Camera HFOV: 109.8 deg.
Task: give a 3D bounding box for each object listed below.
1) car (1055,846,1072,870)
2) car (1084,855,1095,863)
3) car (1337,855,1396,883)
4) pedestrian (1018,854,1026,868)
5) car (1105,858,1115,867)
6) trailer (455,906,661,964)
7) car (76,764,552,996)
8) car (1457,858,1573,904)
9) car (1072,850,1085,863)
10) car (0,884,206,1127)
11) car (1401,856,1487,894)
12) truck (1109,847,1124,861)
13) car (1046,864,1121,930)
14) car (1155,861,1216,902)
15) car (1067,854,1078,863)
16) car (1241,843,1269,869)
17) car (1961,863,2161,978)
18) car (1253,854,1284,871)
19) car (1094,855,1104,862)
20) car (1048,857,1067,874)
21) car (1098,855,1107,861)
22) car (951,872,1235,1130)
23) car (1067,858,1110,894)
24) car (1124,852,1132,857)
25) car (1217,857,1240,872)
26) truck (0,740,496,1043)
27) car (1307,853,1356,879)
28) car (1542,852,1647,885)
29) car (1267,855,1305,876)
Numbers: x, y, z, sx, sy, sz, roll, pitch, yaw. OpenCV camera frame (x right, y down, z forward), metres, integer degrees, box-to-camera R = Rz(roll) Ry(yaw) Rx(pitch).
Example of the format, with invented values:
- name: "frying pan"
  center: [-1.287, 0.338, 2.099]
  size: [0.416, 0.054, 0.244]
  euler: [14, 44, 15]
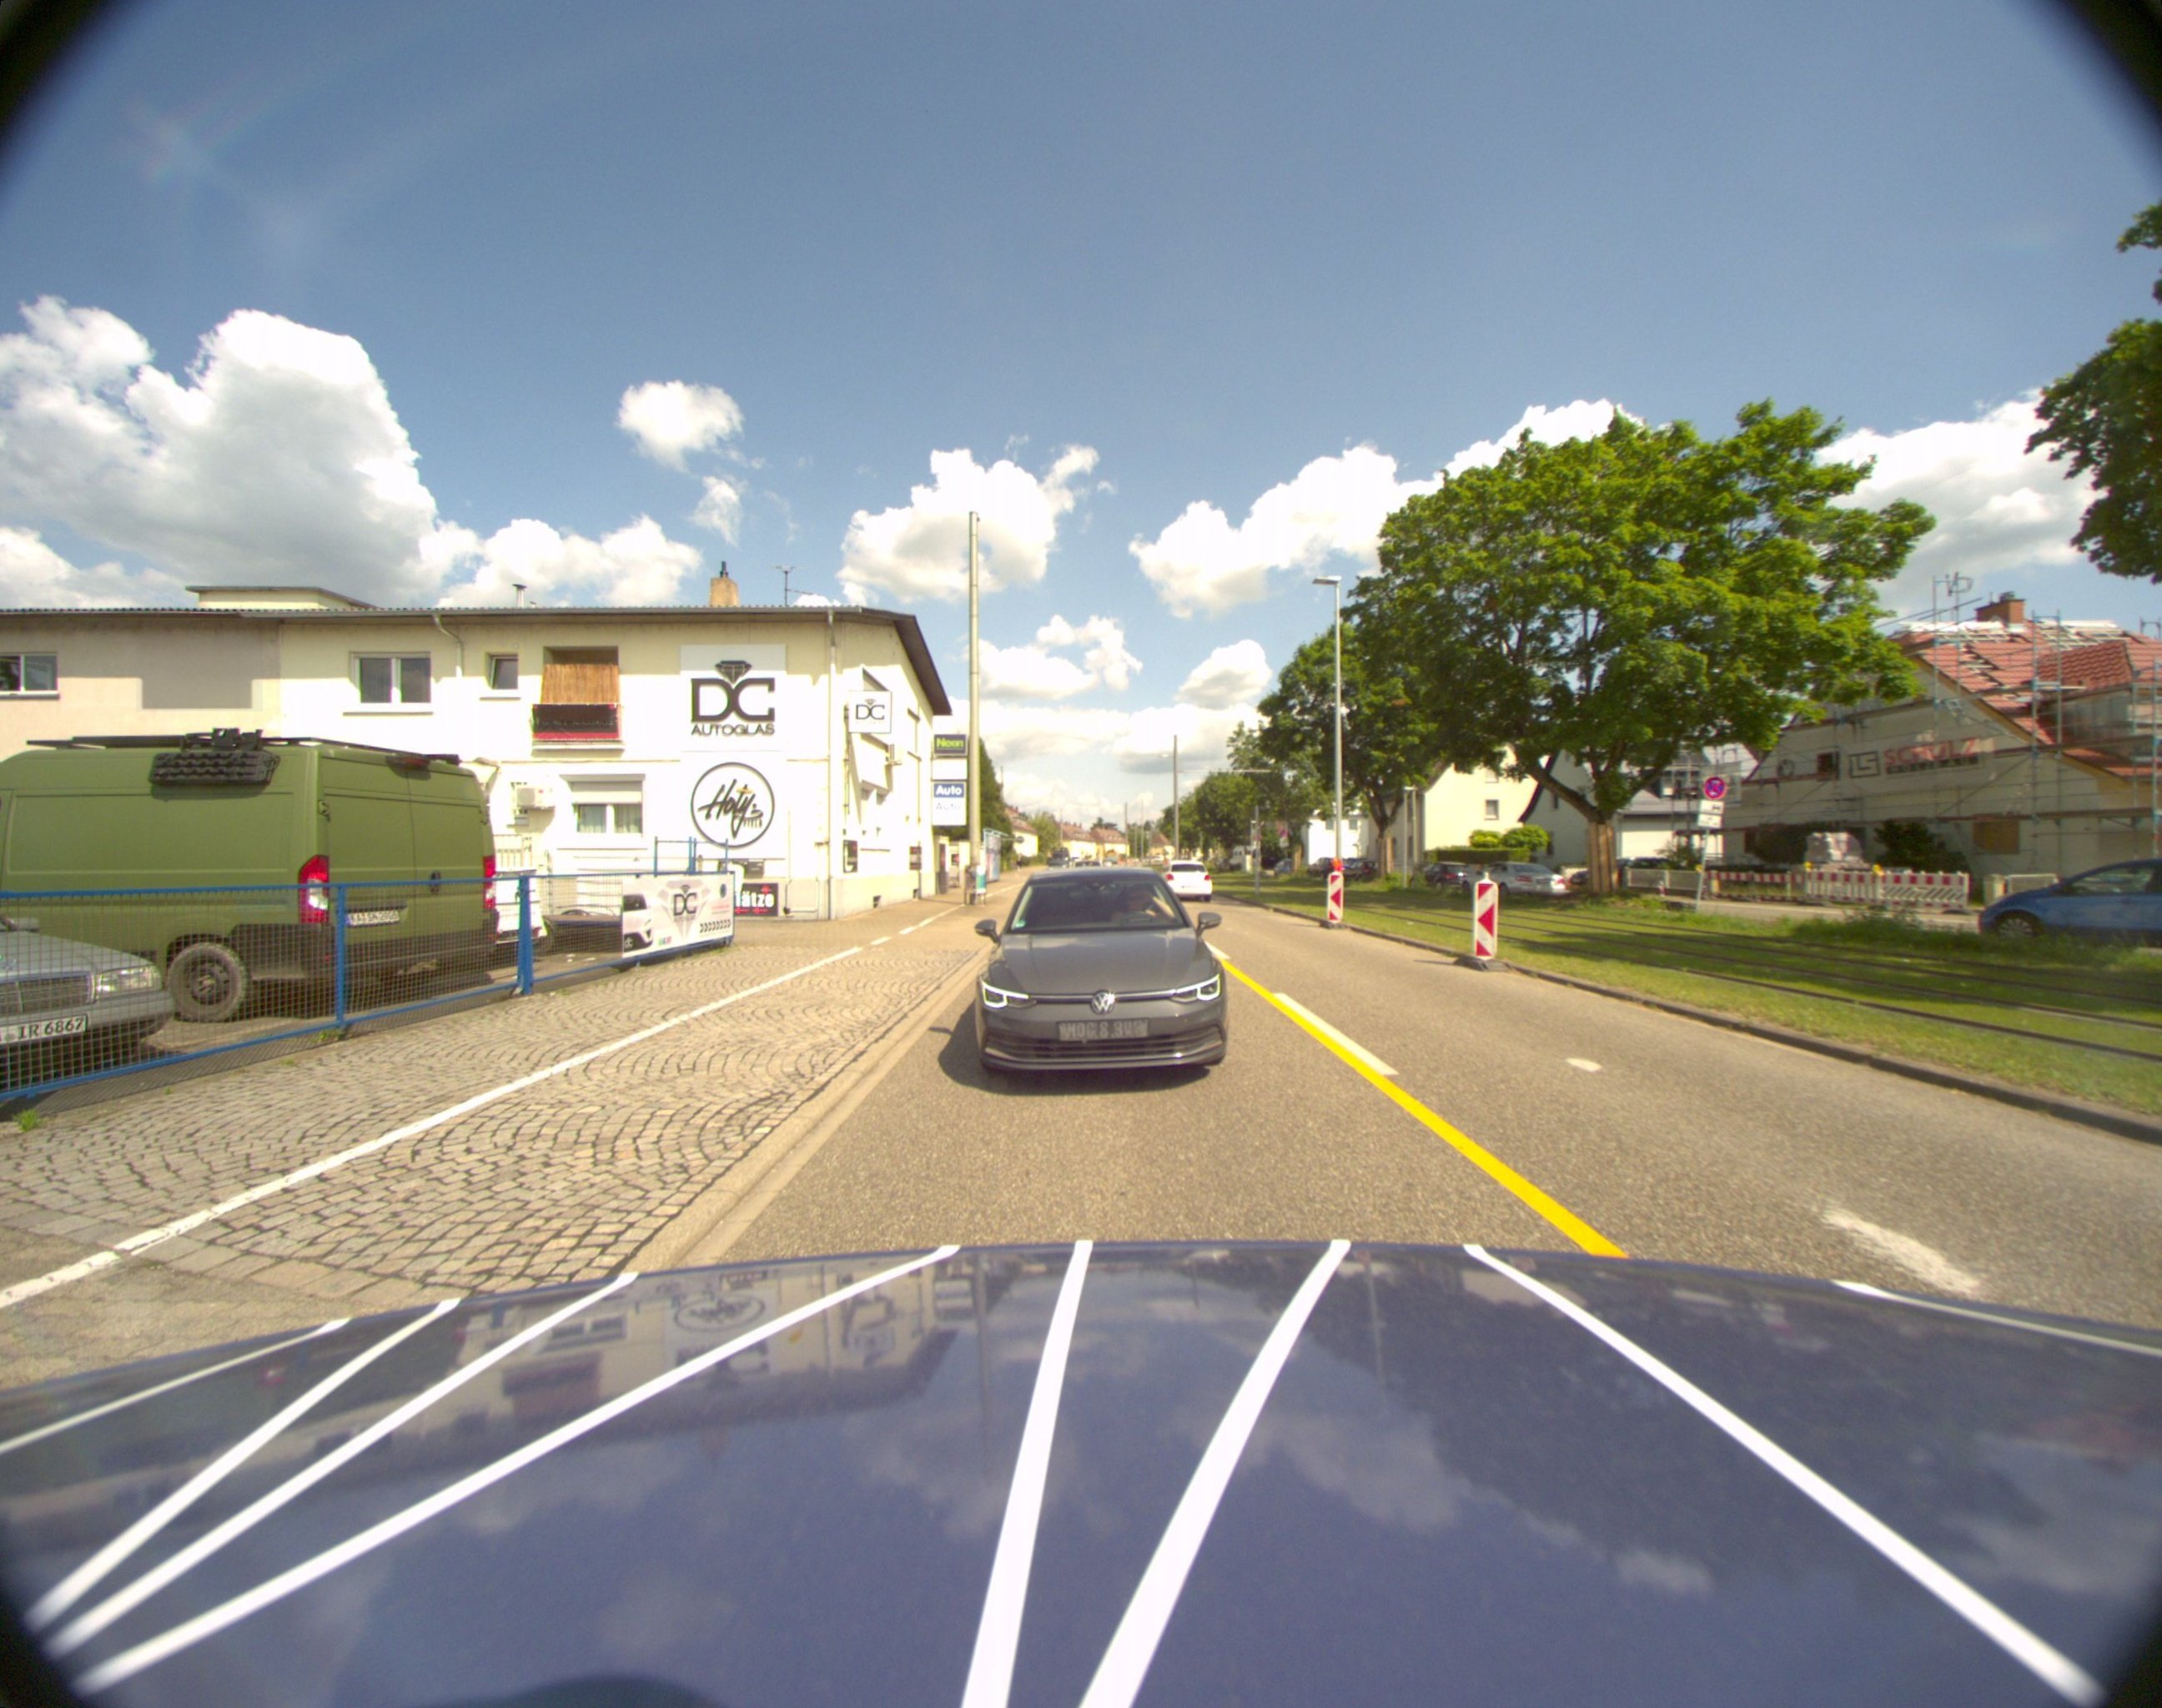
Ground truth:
- name: "car"
  center: [-1.917, 0.416, 82.843]
  size: [1.720, 2.526, 5.794]
  euler: [0, 0, 0]
- name: "car"
  center: [1.818, 0.997, 155.296]
  size: [1.718, 1.470, 4.011]
  euler: [0, 0, 8]
- name: "car"
  center: [16.901, 0.855, 45.261]
  size: [1.755, 1.602, 4.606]
  euler: [0, 0, 0]
- name: "pedestrian"
  center: [-6.583, 0.760, 84.238]
  size: [0.816, 1.577, 0.918]
  euler: [0, 0, 1]
- name: "car"
  center: [4.887, 1.431, 128.337]
  size: [1.755, 1.405, 4.262]
  euler: [0, 0, 3]
- name: "trailer"
  center: [-8.062, 1.239, 11.830]
  size: [2.329, 0.762, 1.269]
  euler: [0, 0, 2]
- name: "car"
  center: [-9.455, 0.303, 9.646]
  size: [4.209, 2.653, 1.803]
  euler: [0, 0, 0]
- name: "car"
  center: [16.389, 0.969, 29.000]
  size: [1.755, 1.602, 4.606]
  euler: [0, 0, 0]
- name: "car"
  center: [-0.426, 0.407, 136.316]
  size: [1.719, 2.360, 5.211]
  euler: [0, 0, 5]
- name: "car"
  center: [-8.437, 0.919, 4.804]
  size: [4.206, 1.388, 1.804]
  euler: [0, 0, 8]
- name: "car"
  center: [16.590, 0.921, 35.023]
  size: [1.755, 1.602, 4.606]
  euler: [0, 0, 0]
- name: "truck"
  center: [9.410, 0.033, 201.129]
  size: [2.590, 3.431, 8.585]
  euler: [0, 0, 11]
- name: "car"
  center: [0.088, 1.011, 19.408]
  size: [1.719, 1.470, 4.009]
  euler: [0, 0, 1]
- name: "car"
  center: [3.789, 0.963, 28.209]
  size: [1.719, 1.405, 4.262]
  euler: [0, 0, 1]
- name: "car"
  center: [-1.363, 0.745, 122.953]
  size: [1.720, 1.470, 4.009]
  euler: [0, 0, 0]
- name: "car"
  center: [17.647, 0.203, 77.083]
  size: [1.755, 2.601, 4.606]
  euler: [0, 0, 0]
- name: "car"
  center: [16.238, 0.961, 11.226]
  size: [1.755, 1.602, 4.050]
  euler: [0, 0, 0]
- name: "car"
  center: [17.586, 0.761, 71.489]
  size: [1.755, 1.602, 4.606]
  euler: [0, 0, 0]
- name: "car"
  center: [4.109, 1.005, 172.730]
  size: [1.718, 1.470, 4.011]
  euler: [0, 0, 8]
- name: "car"
  center: [-2.159, 1.071, 70.981]
  size: [1.720, 1.470, 4.009]
  euler: [0, 0, 0]
- name: "car"
  center: [5.182, 1.007, 179.079]
  size: [1.718, 1.470, 4.011]
  euler: [0, 0, 8]
- name: "car"
  center: [0.100, 0.939, 6.606]
  size: [1.719, 1.470, 4.009]
  euler: [0, 0, 1]
- name: "car"
  center: [0.342, 0.936, 33.862]
  size: [1.787, 1.470, 4.009]
  euler: [0, 0, 1]
- name: "car"
  center: [13.536, 0.247, 218.471]
  size: [1.718, 1.470, 4.013]
  euler: [0, 0, 13]
- name: "car"
  center: [16.934, 1.159, 87.263]
  size: [1.755, 1.602, 4.606]
  euler: [0, 0, 0]
- name: "truck"
  center: [-8.623, 0.330, 7.560]
  size: [3.997, 2.592, 2.069]
  euler: [0, 0, 1]
- name: "car"
  center: [16.680, 0.769, 50.901]
  size: [1.755, 1.602, 4.606]
  euler: [0, 0, 0]
- name: "car"
  center: [25.512, 0.725, 37.826]
  size: [4.047, 1.602, 1.757]
  euler: [0, 0, 1]
- name: "car"
  center: [16.496, 0.922, 61.350]
  size: [1.755, 1.602, 4.606]
  euler: [0, 0, 0]
